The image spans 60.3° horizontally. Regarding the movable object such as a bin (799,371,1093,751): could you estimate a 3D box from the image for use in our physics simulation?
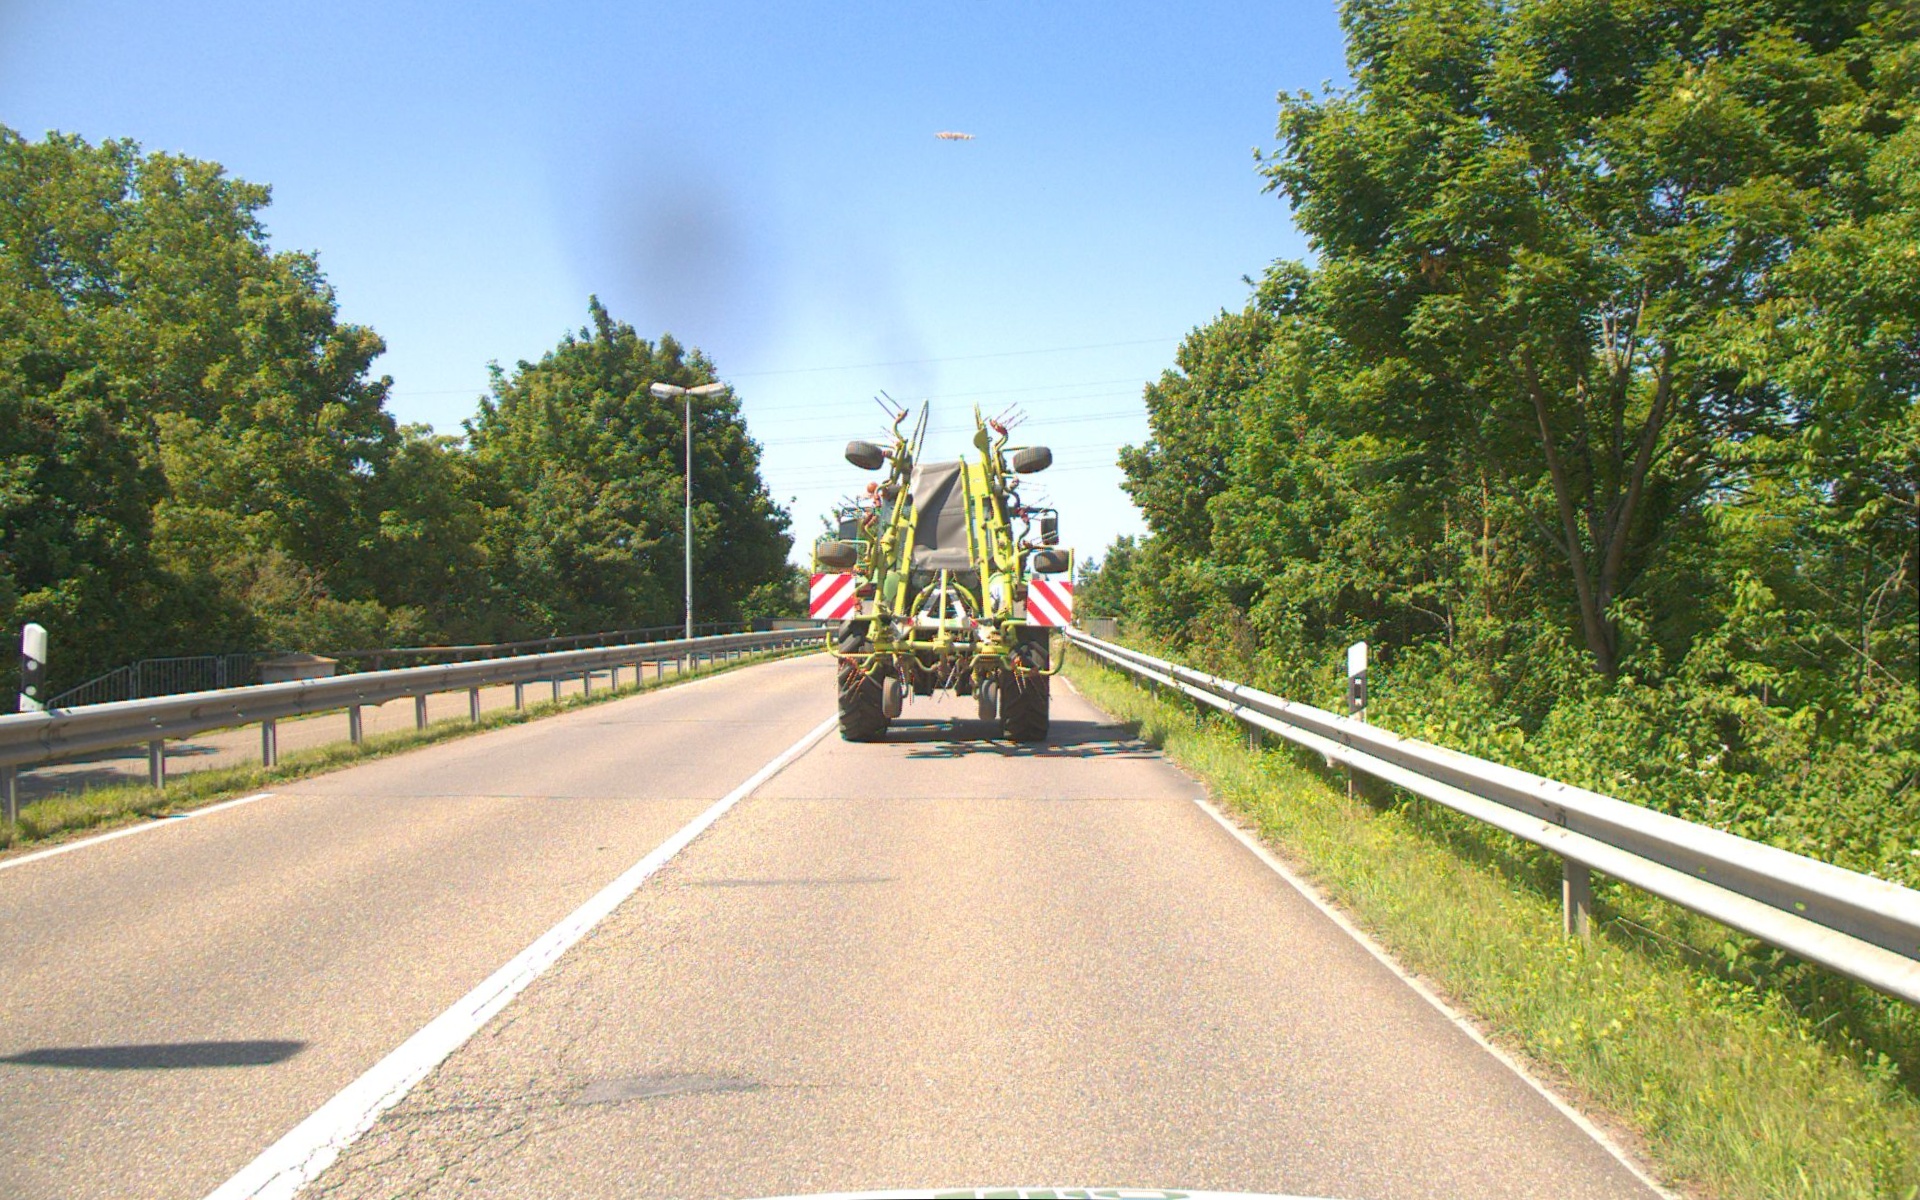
[{"bbox_3d":[-0.131,-0.379,18.133,2.699,3.504,5.669,0,0,0],"label":"movable object such as a bin"}]
